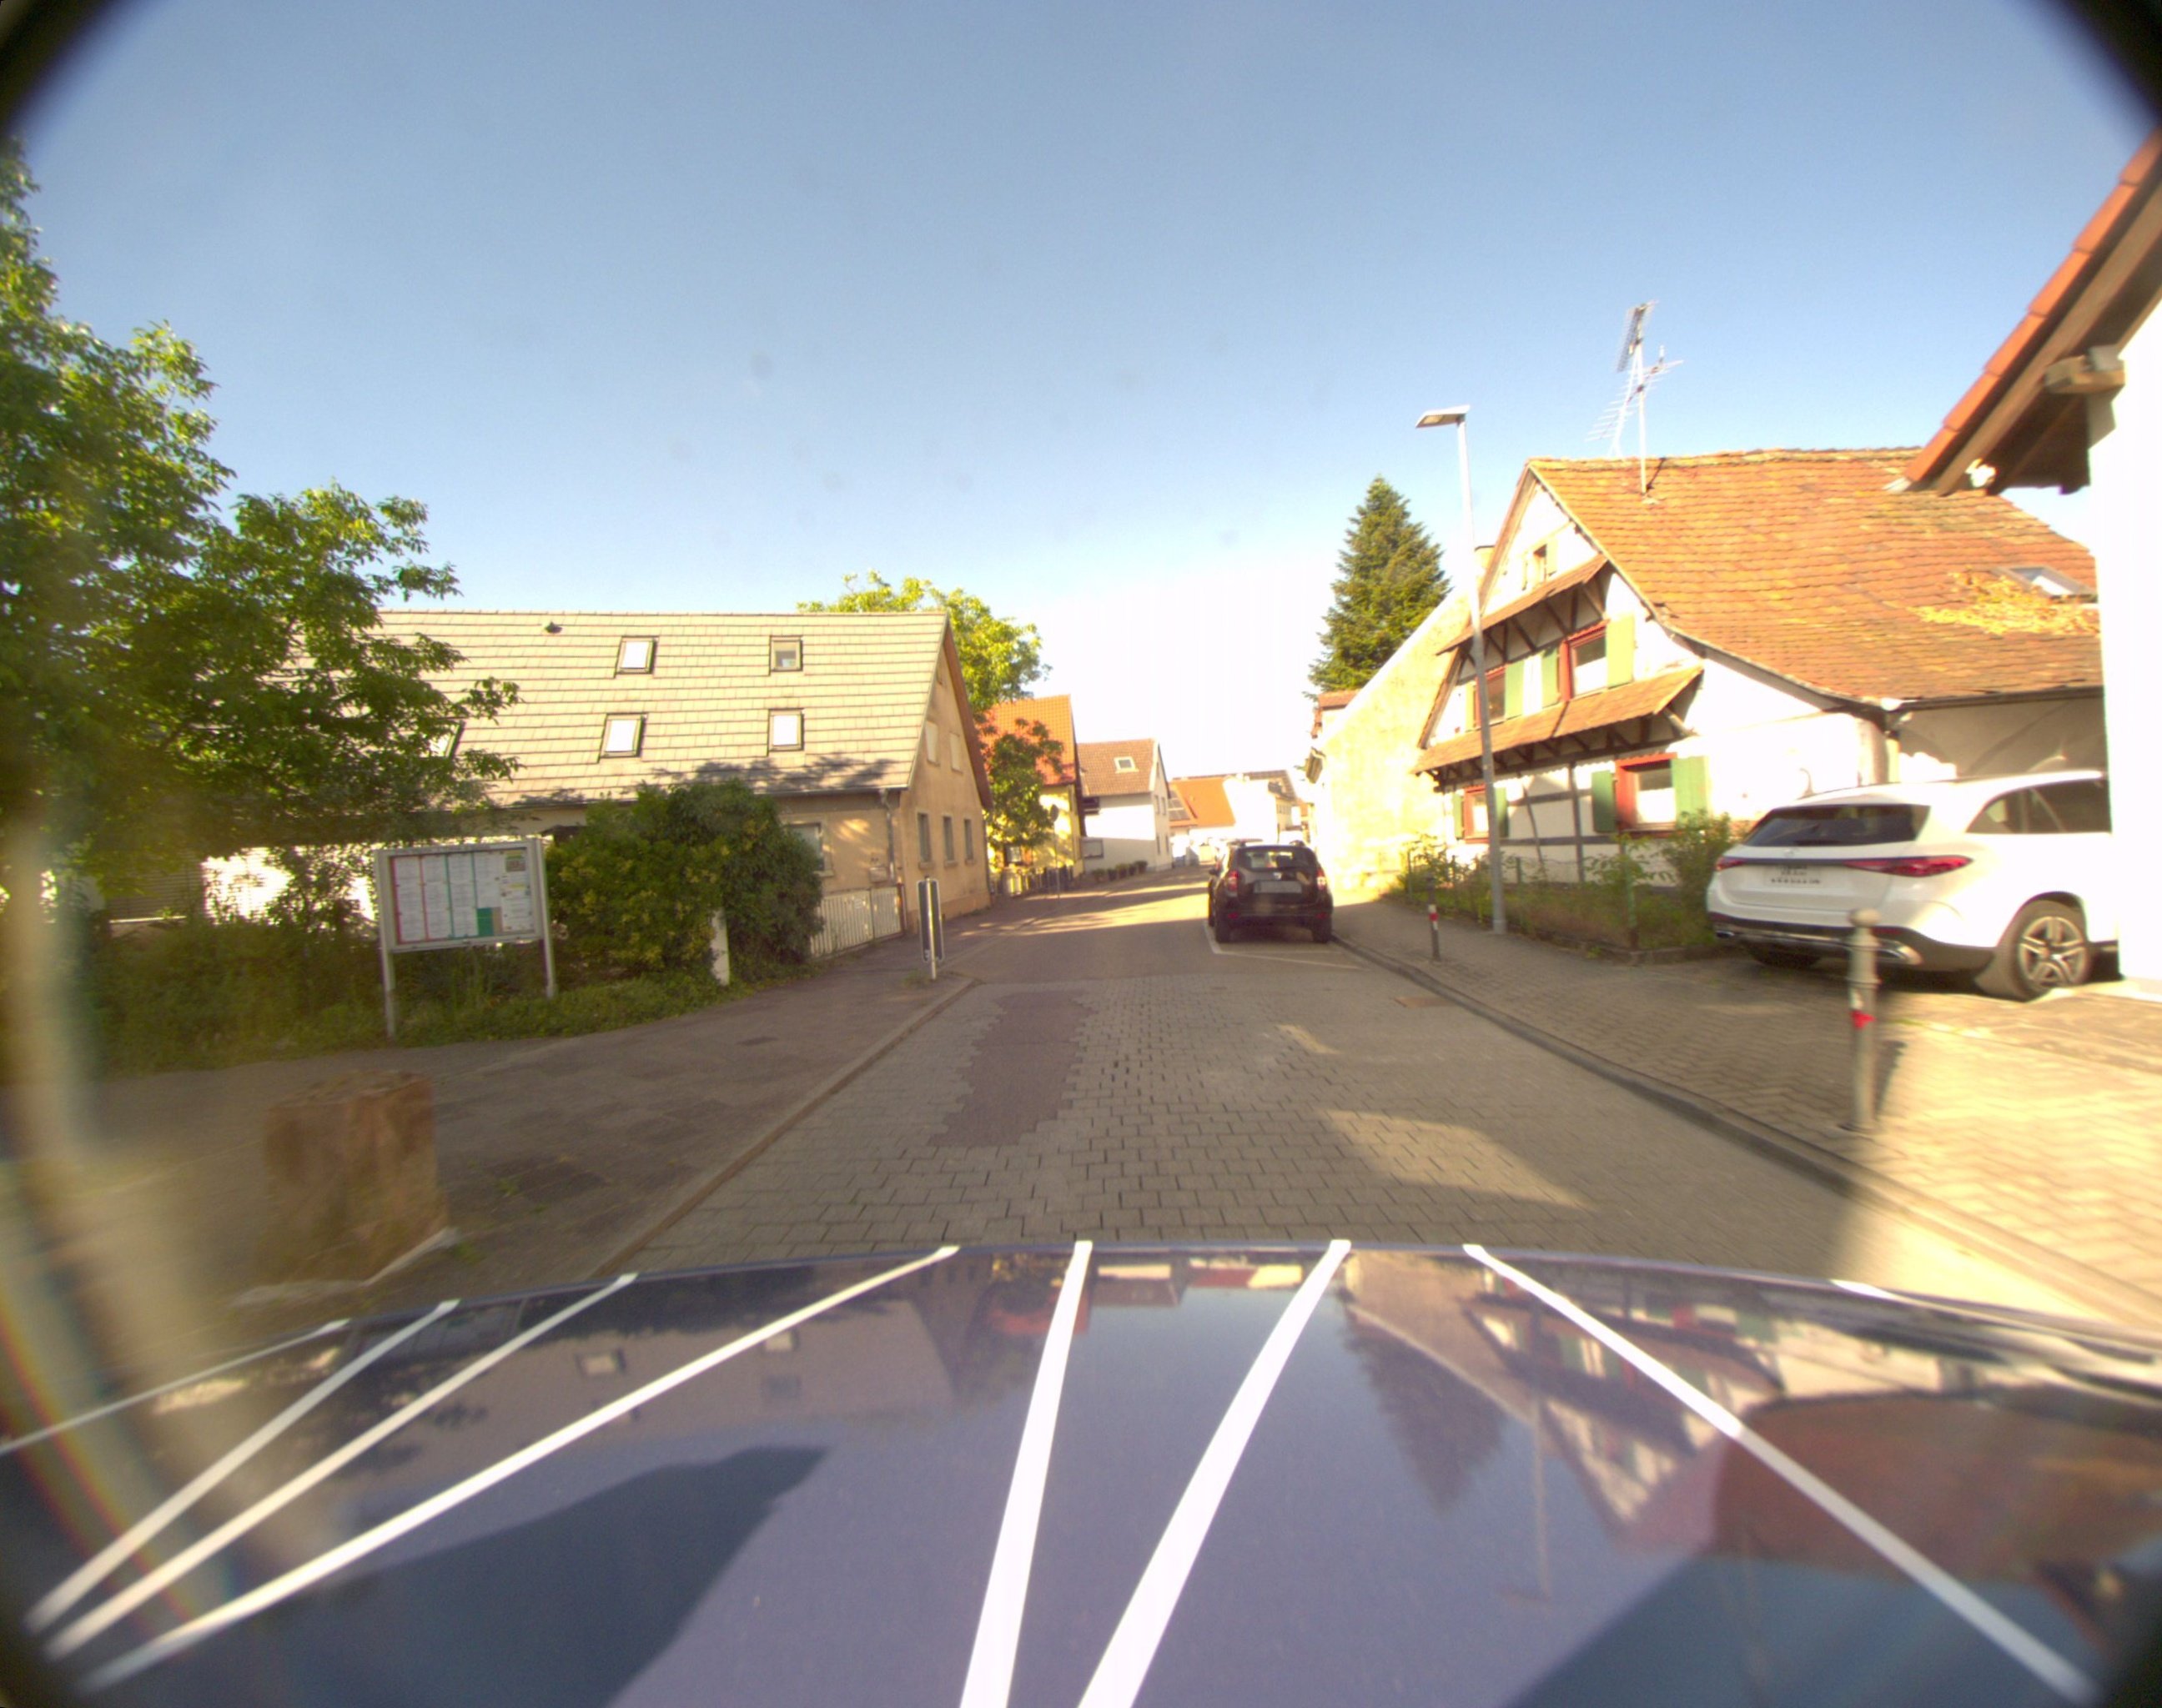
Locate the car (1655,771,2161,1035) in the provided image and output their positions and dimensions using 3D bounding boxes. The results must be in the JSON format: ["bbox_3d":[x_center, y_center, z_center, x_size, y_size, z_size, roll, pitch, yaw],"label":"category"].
[{"bbox_3d":[7.535,0.254,6.372,3.999,1.580,1.999,-6,0,-7],"label":"car"}]

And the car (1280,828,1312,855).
[{"bbox_3d":[19.284,-1.099,68.071,2.057,2.233,4.866,-2,0,23],"label":"car"}]

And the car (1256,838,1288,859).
[{"bbox_3d":[15.654,-0.471,62.093,1.890,1.581,4.006,-2,0,23],"label":"car"}]

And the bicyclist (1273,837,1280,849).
[{"bbox_3d":[22.184,-1.262,86.202,0.581,1.313,0.609,-2,1,29],"label":"bicyclist"}]

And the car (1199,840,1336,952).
[{"bbox_3d":[3.131,0.612,13.577,1.836,1.661,4.354,-1,1,7],"label":"car"}]

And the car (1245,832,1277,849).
[{"bbox_3d":[24.247,-1.800,102.435,3.992,2.002,1.844,-3,0,17],"label":"car"}]

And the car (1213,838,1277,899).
[{"bbox_3d":[5.331,0.404,24.594,1.835,1.779,4.357,-1,0,13],"label":"car"}]

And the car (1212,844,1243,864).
[{"bbox_3d":[11.946,-0.031,61.726,1.805,1.469,4.349,-1,1,19],"label":"car"}]
